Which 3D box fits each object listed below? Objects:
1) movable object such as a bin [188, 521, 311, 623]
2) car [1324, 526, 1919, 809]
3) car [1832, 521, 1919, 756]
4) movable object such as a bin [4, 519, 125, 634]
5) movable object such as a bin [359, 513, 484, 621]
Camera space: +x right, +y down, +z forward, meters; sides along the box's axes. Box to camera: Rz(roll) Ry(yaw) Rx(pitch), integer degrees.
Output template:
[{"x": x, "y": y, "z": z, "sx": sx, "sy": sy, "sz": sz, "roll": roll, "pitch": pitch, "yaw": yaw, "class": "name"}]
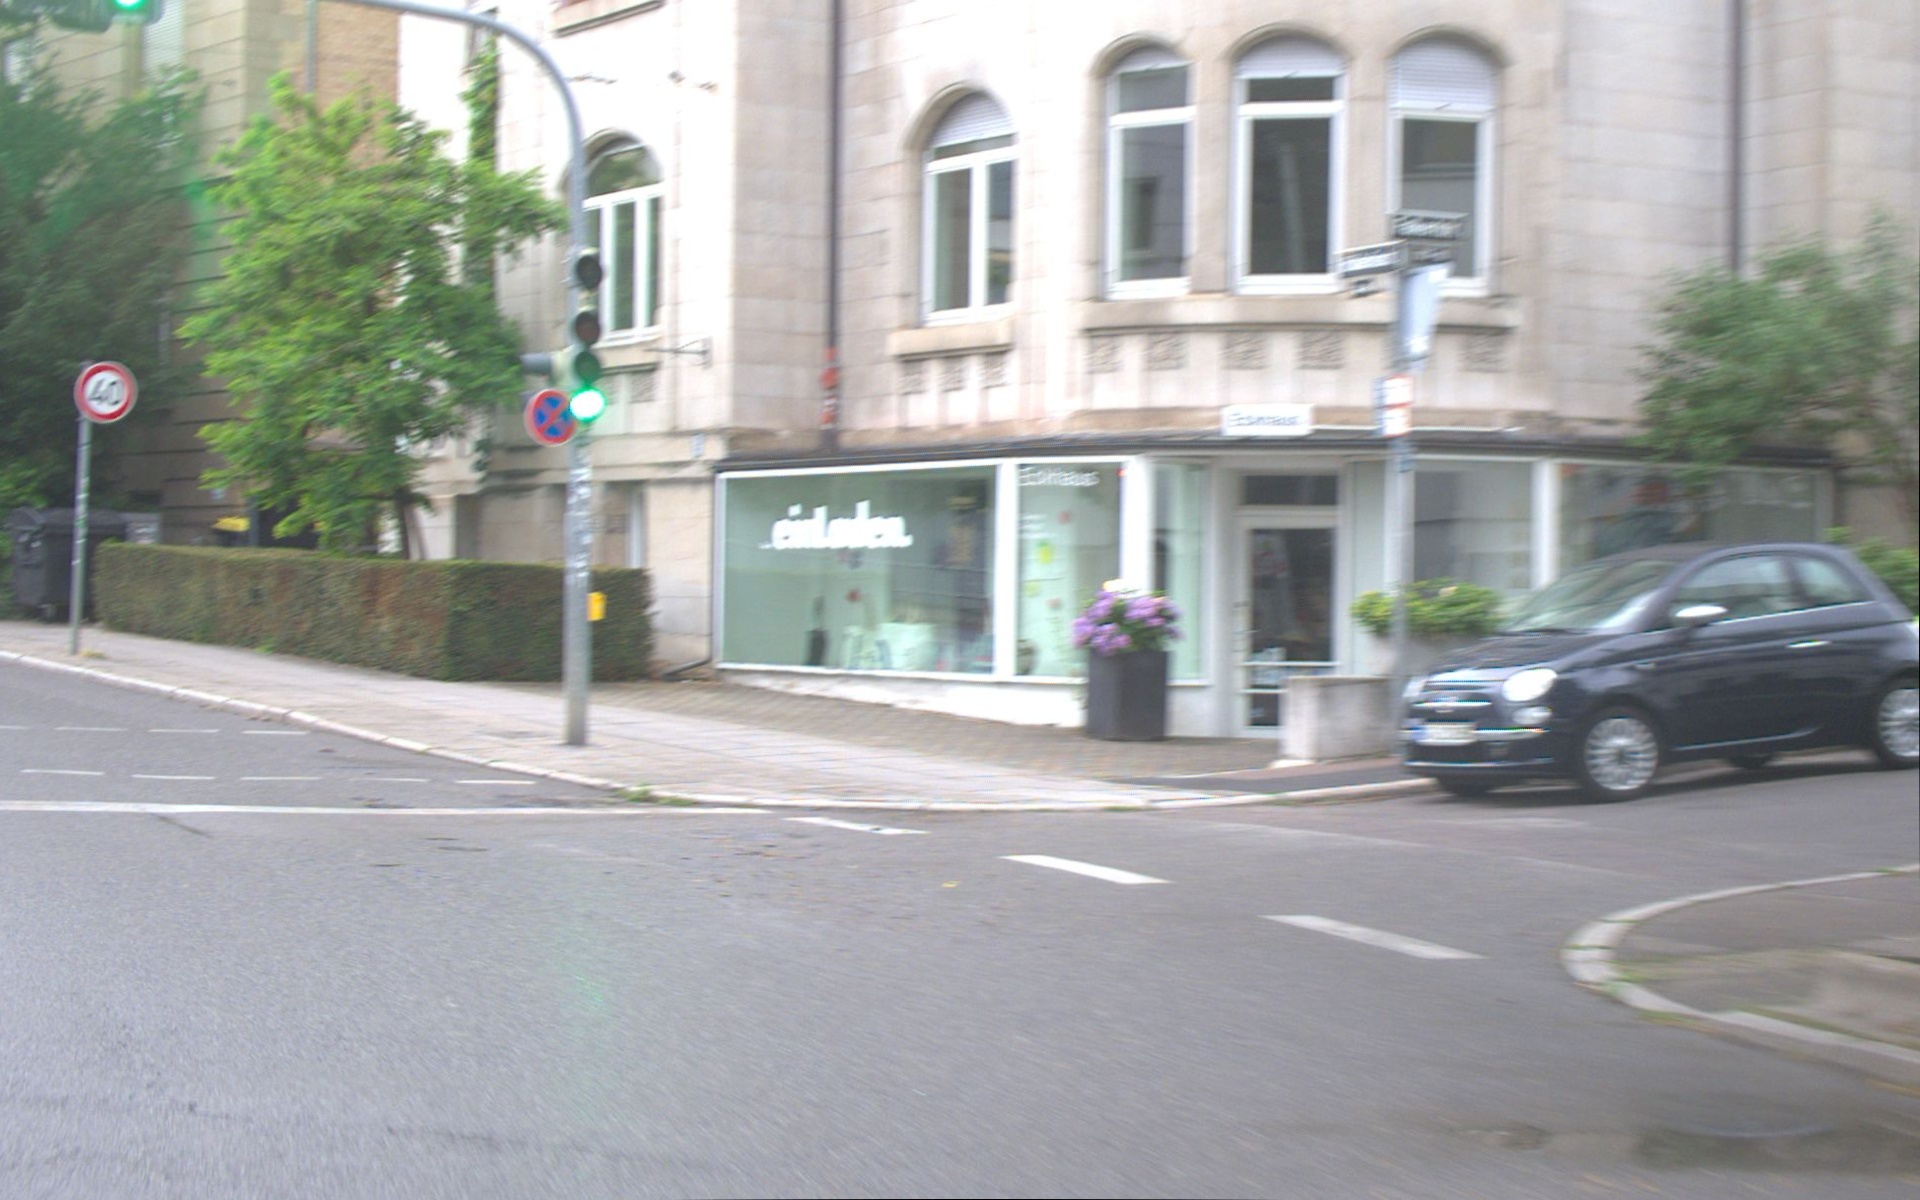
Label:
[{"x": -9.448, "y": -0.383, "z": 45.698, "sx": 1.217, "sy": 1.304, "sz": 1.168, "roll": 0, "pitch": 2, "yaw": -36, "class": "movable object such as a bin"}, {"x": 4.264, "y": 0.350, "z": 21.094, "sx": 3.658, "sy": 1.503, "sz": 1.738, "roll": -2, "pitch": 2, "yaw": -26, "class": "car"}, {"x": 7.885, "y": 0.201, "z": 23.116, "sx": 3.658, "sy": 1.503, "sz": 1.738, "roll": -2, "pitch": 2, "yaw": -26, "class": "car"}, {"x": -11.421, "y": -0.307, "z": 43.849, "sx": 1.226, "sy": 1.398, "sz": 0.822, "roll": -1, "pitch": 5, "yaw": -43, "class": "movable object such as a bin"}, {"x": -7.390, "y": -0.464, "z": 47.158, "sx": 1.231, "sy": 1.420, "sz": 1.308, "roll": -1, "pitch": 2, "yaw": -35, "class": "movable object such as a bin"}]
